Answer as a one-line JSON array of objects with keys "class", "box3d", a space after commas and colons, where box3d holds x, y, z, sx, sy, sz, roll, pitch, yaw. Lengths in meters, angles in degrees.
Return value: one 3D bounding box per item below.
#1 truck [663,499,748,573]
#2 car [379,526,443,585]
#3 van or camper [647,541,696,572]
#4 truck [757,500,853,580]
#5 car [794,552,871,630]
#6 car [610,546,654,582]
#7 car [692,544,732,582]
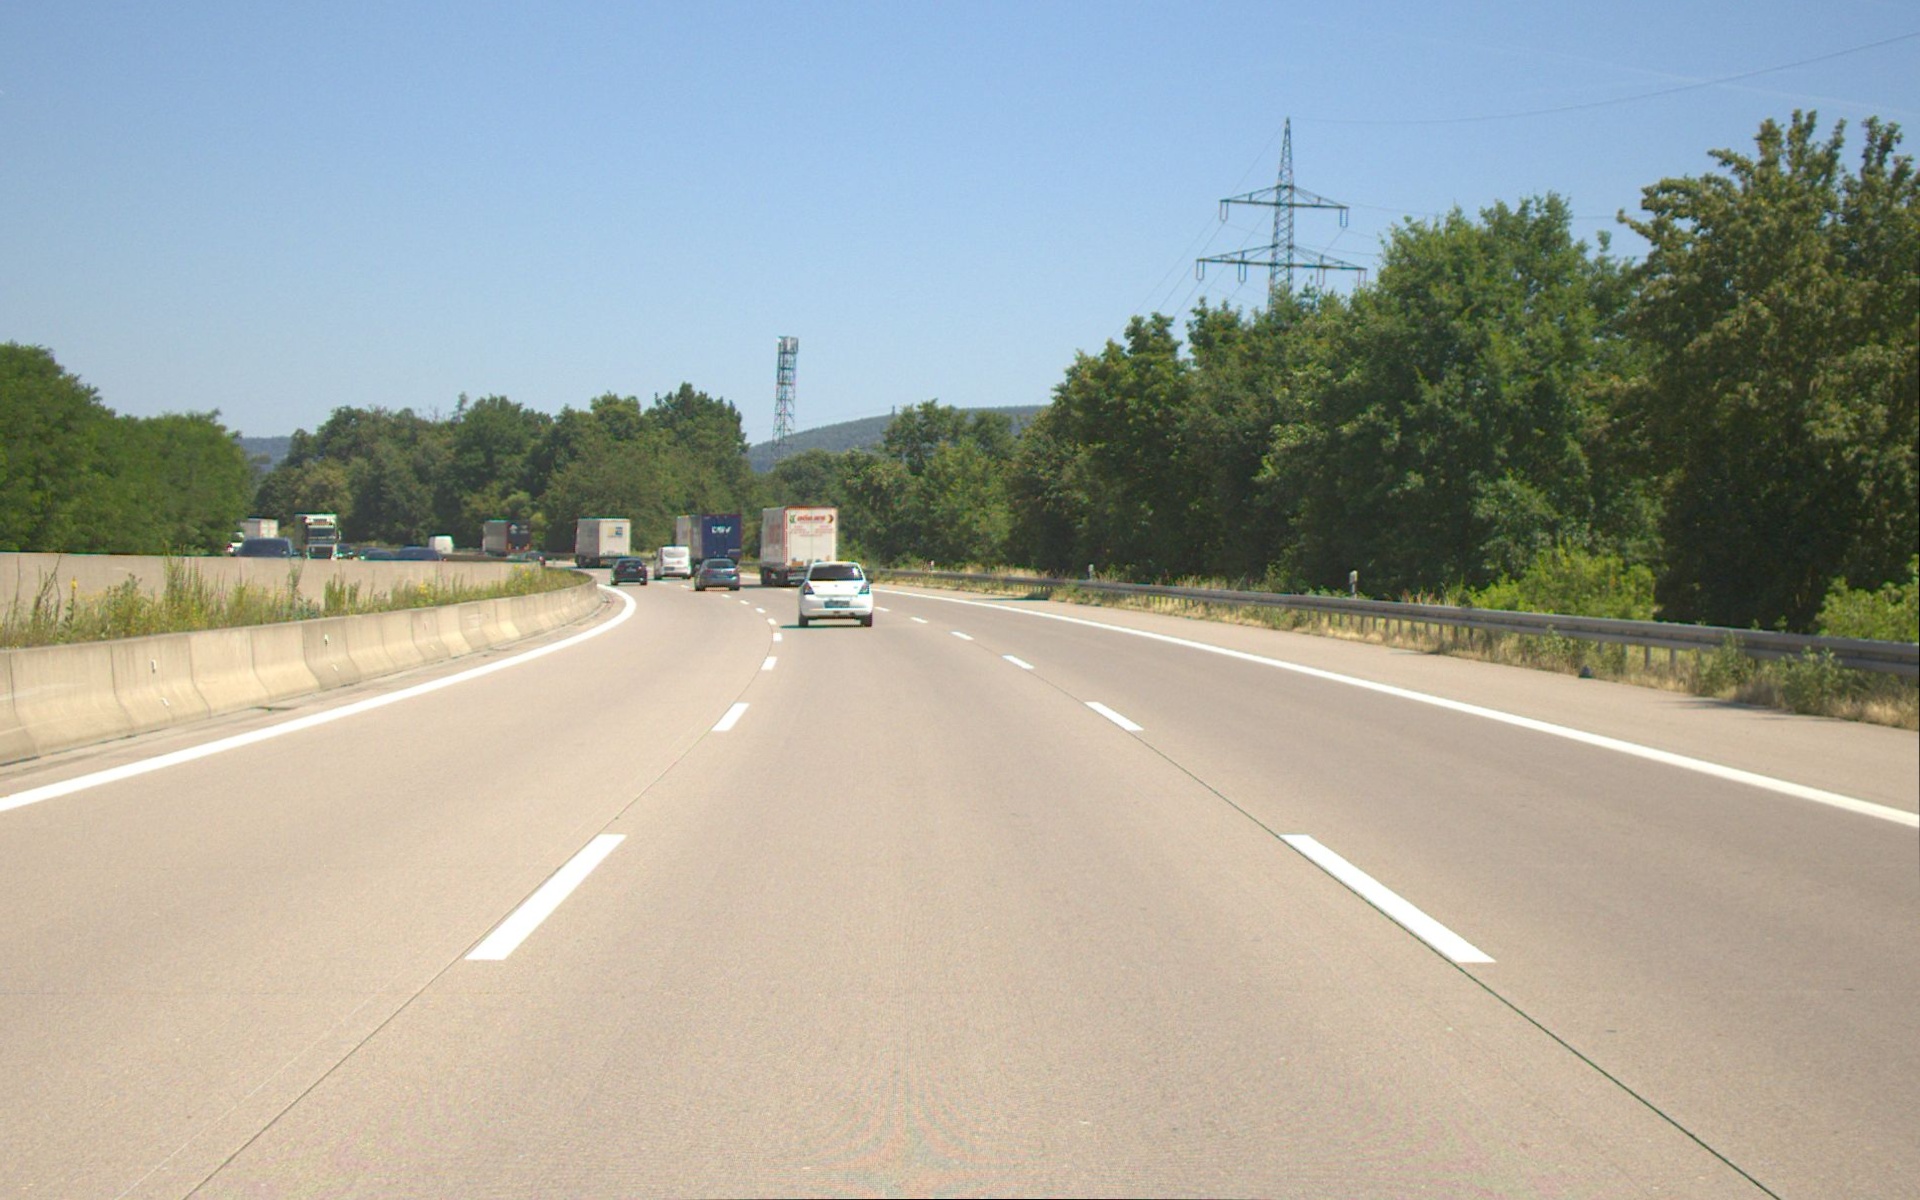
[{"class": "truck", "box3d": [-16.786, -4.157, 225.773, 3.906, 4.725, 14.054, 0, 1, -11]}, {"class": "car", "box3d": [-18.626, -1.511, 116.720, 1.659, 1.915, 4.007, 1, 1, -2]}, {"class": "van or camper", "box3d": [-17.513, -2.630, 208.533, 1.867, 1.831, 4.001, -1, 1, -21]}, {"class": "truck", "box3d": [-7.974, -2.999, 174.735, 3.819, 3.876, 14.156, 0, 1, -7]}, {"class": "car", "box3d": [-2.968, -0.224, 80.332, 1.641, 1.656, 3.360, 4, 1, -2]}, {"class": "car", "box3d": [-17.495, -1.944, 183.248, 2.021, 1.695, 4.001, 5, 1, -8]}, {"class": "car", "box3d": [-11.424, -1.694, 158.215, 1.610, 1.719, 3.574, 0, 1, -7]}]
